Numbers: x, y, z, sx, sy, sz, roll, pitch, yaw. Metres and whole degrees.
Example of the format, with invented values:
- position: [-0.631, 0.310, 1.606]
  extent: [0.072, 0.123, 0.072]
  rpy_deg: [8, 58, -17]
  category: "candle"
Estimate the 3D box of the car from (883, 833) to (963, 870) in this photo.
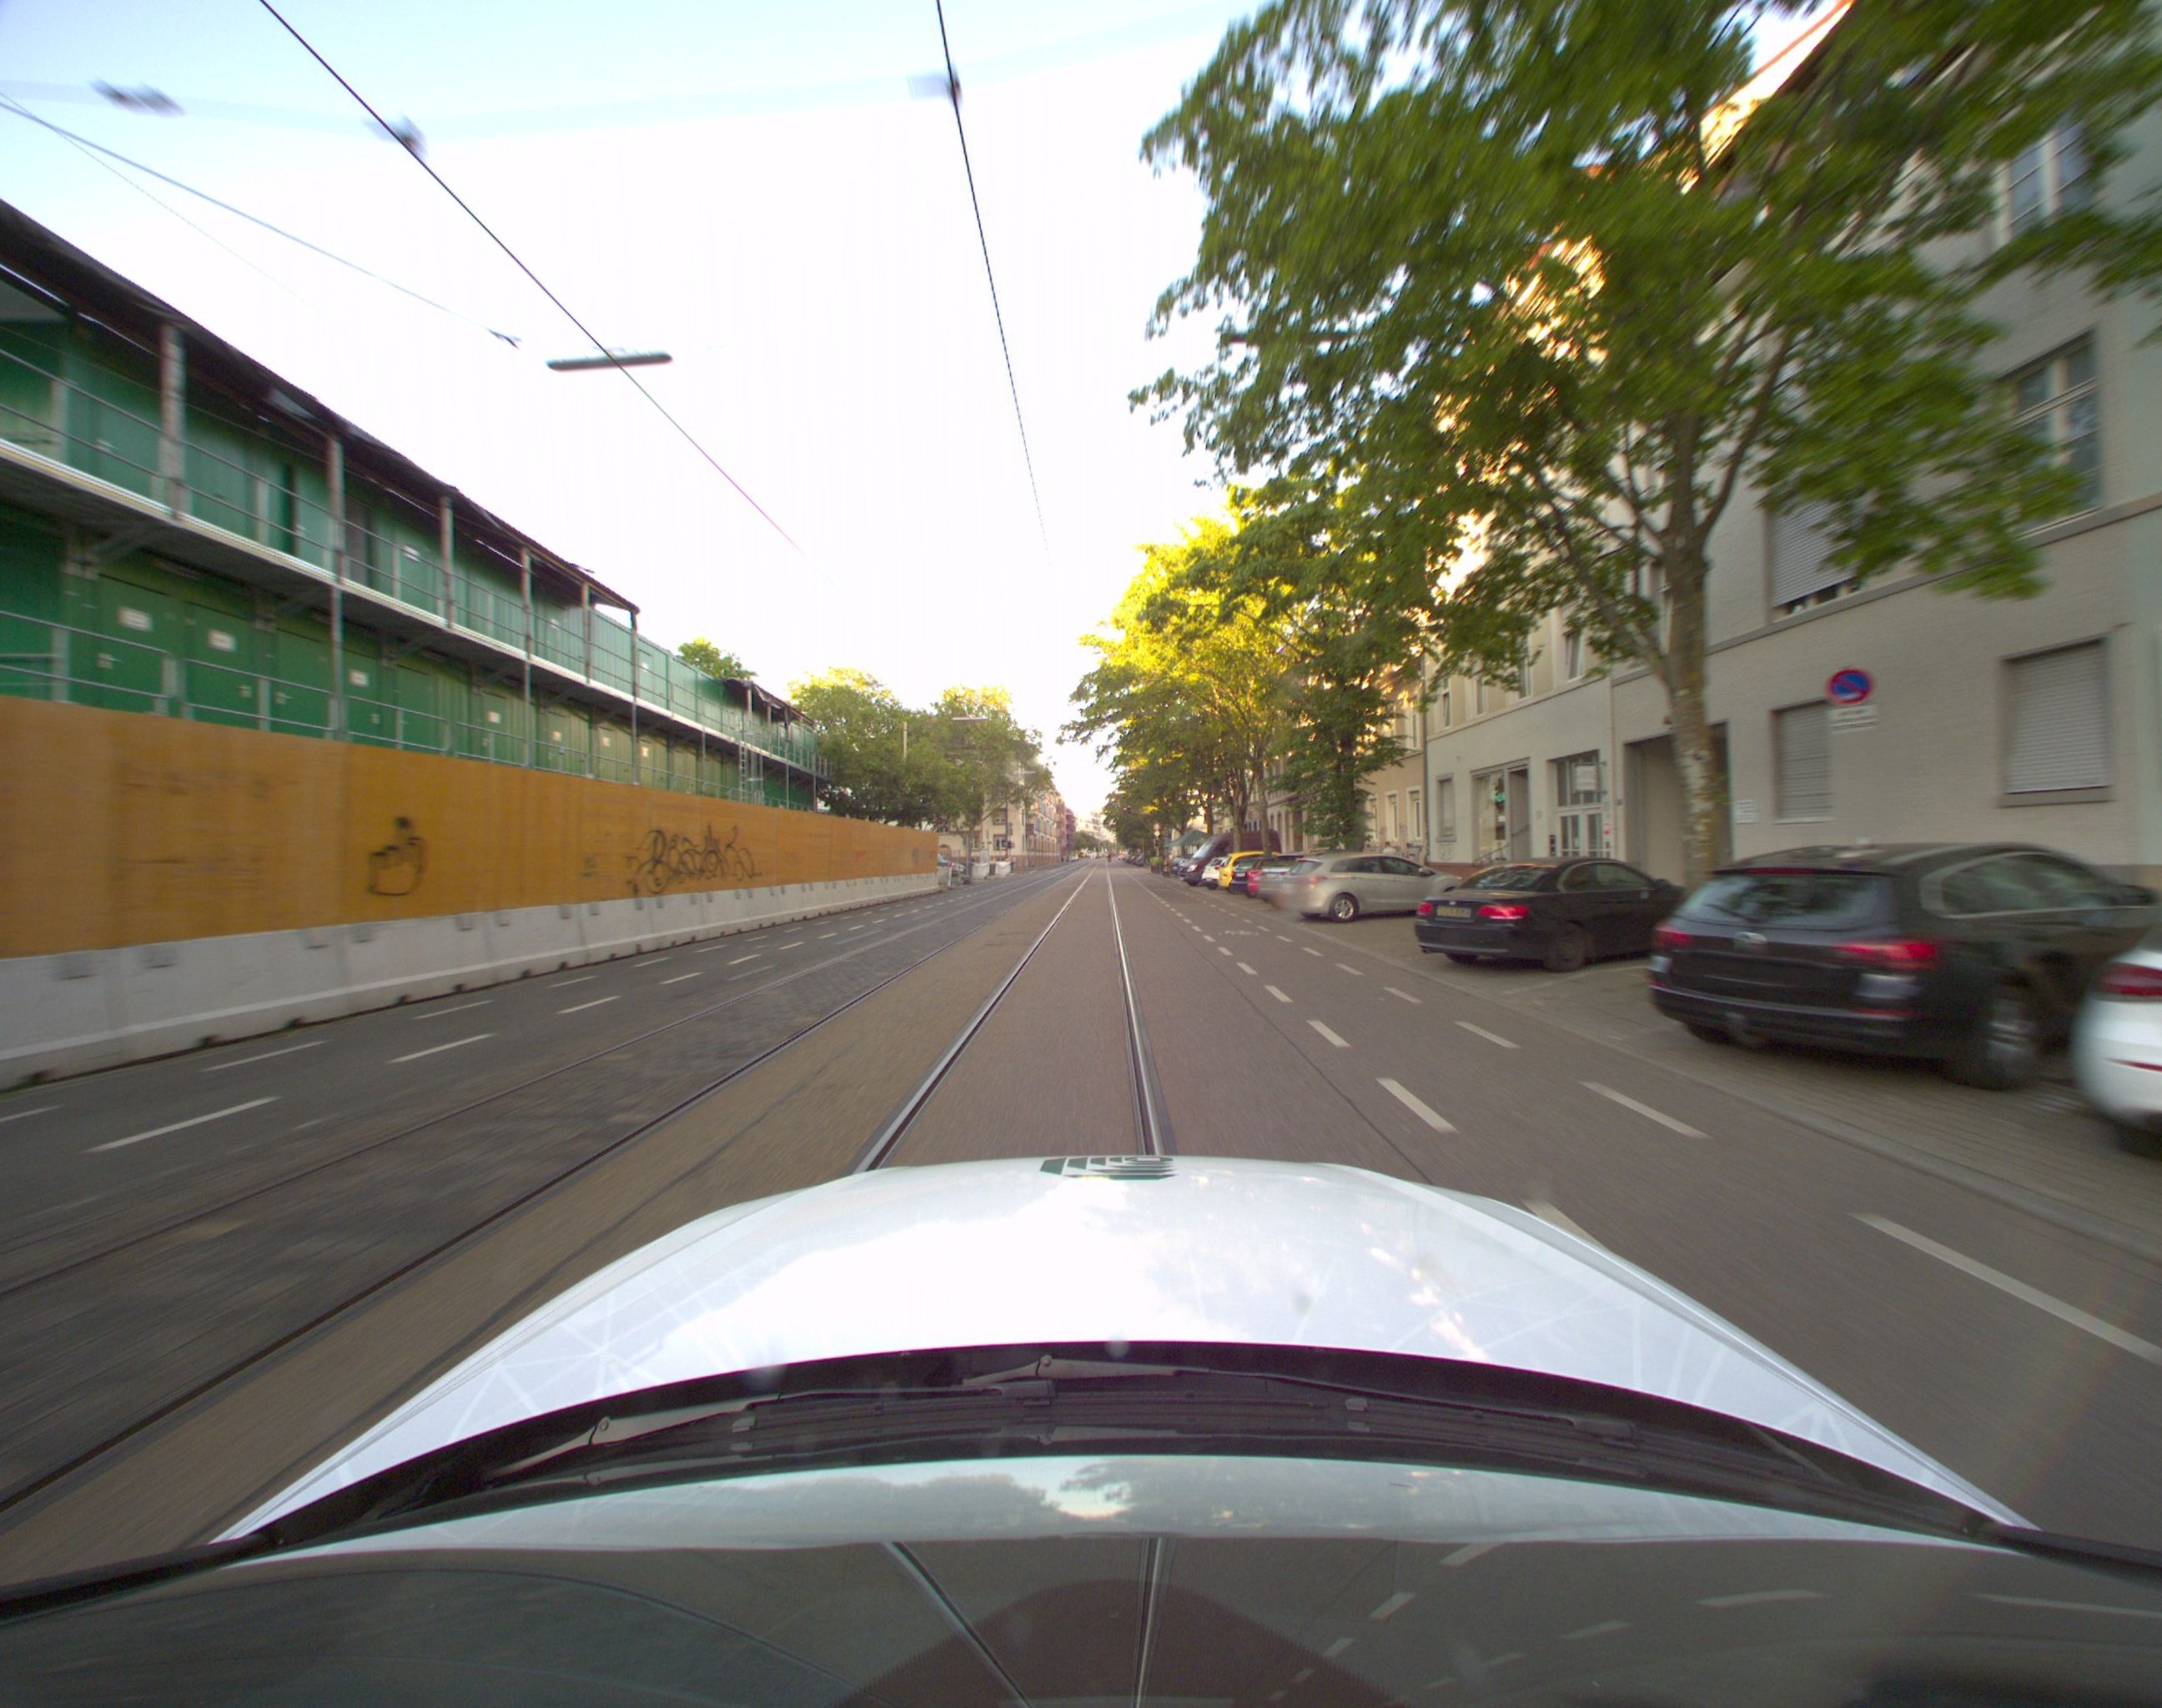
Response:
- position: [-11.585, -0.196, 60.047]
  extent: [5.384, 2.558, 2.226]
  rpy_deg: [1, 0, -2]
  category: "car"

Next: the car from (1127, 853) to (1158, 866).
- position: [7.818, 0.732, 103.218]
  extent: [3.872, 1.592, 1.862]
  rpy_deg: [-1, 0, 2]
  category: "car"

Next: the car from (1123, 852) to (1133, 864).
- position: [8.186, 0.623, 141.451]
  extent: [1.715, 2.014, 4.001]
  rpy_deg: [-1, 0, 2]
  category: "car"

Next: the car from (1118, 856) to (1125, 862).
- position: [11.771, 1.384, 239.122]
  extent: [1.956, 1.718, 4.001]
  rpy_deg: [-1, 0, 2]
  category: "car"

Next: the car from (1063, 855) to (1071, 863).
- position: [-3.543, 1.233, 208.722]
  extent: [1.891, 2.014, 4.001]
  rpy_deg: [-1, 0, 2]
  category: "car"

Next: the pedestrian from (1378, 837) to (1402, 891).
- position: [10.760, 0.345, 28.373]
  extent: [0.563, 1.814, 0.607]
  rpy_deg: [-1, -1, 1]
  category: "pedestrian"

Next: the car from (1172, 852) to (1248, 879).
- position: [8.041, 0.735, 50.927]
  extent: [4.182, 1.462, 1.998]
  rpy_deg: [-2, -1, -15]
  category: "car"

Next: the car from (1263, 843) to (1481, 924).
- position: [6.619, 0.633, 18.763]
  extent: [4.250, 1.549, 2.013]
  rpy_deg: [-3, 0, -9]
  category: "car"

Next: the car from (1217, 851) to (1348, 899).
- position: [7.097, 0.713, 28.733]
  extent: [4.140, 1.425, 1.905]
  rpy_deg: [-3, -1, -24]
  category: "car"

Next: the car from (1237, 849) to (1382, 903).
- position: [7.213, 0.682, 25.722]
  extent: [4.140, 1.425, 1.882]
  rpy_deg: [-3, -1, -24]
  category: "car"

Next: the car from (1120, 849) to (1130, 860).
- position: [8.059, 0.091, 149.032]
  extent: [1.798, 2.014, 4.001]
  rpy_deg: [-1, 0, 2]
  category: "car"

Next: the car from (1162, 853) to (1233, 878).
- position: [7.674, 0.754, 53.800]
  extent: [4.193, 1.498, 1.993]
  rpy_deg: [-2, -1, -23]
  category: "car"

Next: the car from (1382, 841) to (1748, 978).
- position: [6.450, 0.633, 10.902]
  extent: [4.268, 1.392, 2.001]
  rpy_deg: [-3, 0, -22]
  category: "car"

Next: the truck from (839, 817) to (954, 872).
- position: [-12.164, -0.626, 54.187]
  extent: [7.039, 3.480, 2.539]
  rpy_deg: [1, 0, -2]
  category: "truck"

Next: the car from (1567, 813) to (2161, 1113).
- position: [6.128, 0.585, 6.262]
  extent: [4.134, 1.470, 2.000]
  rpy_deg: [-4, 0, -23]
  category: "car"

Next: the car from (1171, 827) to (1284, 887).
- position: [7.305, 0.135, 40.805]
  extent: [5.105, 2.642, 2.011]
  rpy_deg: [-3, -1, -16]
  category: "car"

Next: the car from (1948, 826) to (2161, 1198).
- position: [6.595, 0.581, 3.925]
  extent: [4.134, 1.470, 1.972]
  rpy_deg: [-4, 0, -23]
  category: "car"

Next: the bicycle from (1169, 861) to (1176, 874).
- position: [7.239, 1.036, 64.690]
  extent: [0.417, 1.015, 1.831]
  rpy_deg: [-1, 0, 2]
  category: "bicycle"

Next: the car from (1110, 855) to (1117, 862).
- position: [9.177, 1.200, 227.971]
  extent: [1.891, 2.014, 4.001]
  rpy_deg: [-1, 0, 2]
  category: "car"

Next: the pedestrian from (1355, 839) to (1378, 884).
- position: [10.153, 0.263, 29.008]
  extent: [0.536, 1.568, 0.814]
  rpy_deg: [-1, 0, 3]
  category: "pedestrian"

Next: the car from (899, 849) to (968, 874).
- position: [-11.904, 0.583, 65.919]
  extent: [5.001, 1.945, 2.230]
  rpy_deg: [1, 0, 6]
  category: "car"

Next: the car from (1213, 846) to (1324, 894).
- position: [7.356, 0.616, 32.191]
  extent: [3.935, 1.619, 1.922]
  rpy_deg: [-3, -1, 2]
  category: "car"

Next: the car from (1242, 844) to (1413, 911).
- position: [6.876, 0.632, 22.730]
  extent: [4.267, 1.560, 1.884]
  rpy_deg: [-3, -1, -22]
  category: "car"

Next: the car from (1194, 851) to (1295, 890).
- position: [7.230, 0.718, 36.034]
  extent: [3.967, 1.486, 1.906]
  rpy_deg: [-3, -1, -23]
  category: "car"
